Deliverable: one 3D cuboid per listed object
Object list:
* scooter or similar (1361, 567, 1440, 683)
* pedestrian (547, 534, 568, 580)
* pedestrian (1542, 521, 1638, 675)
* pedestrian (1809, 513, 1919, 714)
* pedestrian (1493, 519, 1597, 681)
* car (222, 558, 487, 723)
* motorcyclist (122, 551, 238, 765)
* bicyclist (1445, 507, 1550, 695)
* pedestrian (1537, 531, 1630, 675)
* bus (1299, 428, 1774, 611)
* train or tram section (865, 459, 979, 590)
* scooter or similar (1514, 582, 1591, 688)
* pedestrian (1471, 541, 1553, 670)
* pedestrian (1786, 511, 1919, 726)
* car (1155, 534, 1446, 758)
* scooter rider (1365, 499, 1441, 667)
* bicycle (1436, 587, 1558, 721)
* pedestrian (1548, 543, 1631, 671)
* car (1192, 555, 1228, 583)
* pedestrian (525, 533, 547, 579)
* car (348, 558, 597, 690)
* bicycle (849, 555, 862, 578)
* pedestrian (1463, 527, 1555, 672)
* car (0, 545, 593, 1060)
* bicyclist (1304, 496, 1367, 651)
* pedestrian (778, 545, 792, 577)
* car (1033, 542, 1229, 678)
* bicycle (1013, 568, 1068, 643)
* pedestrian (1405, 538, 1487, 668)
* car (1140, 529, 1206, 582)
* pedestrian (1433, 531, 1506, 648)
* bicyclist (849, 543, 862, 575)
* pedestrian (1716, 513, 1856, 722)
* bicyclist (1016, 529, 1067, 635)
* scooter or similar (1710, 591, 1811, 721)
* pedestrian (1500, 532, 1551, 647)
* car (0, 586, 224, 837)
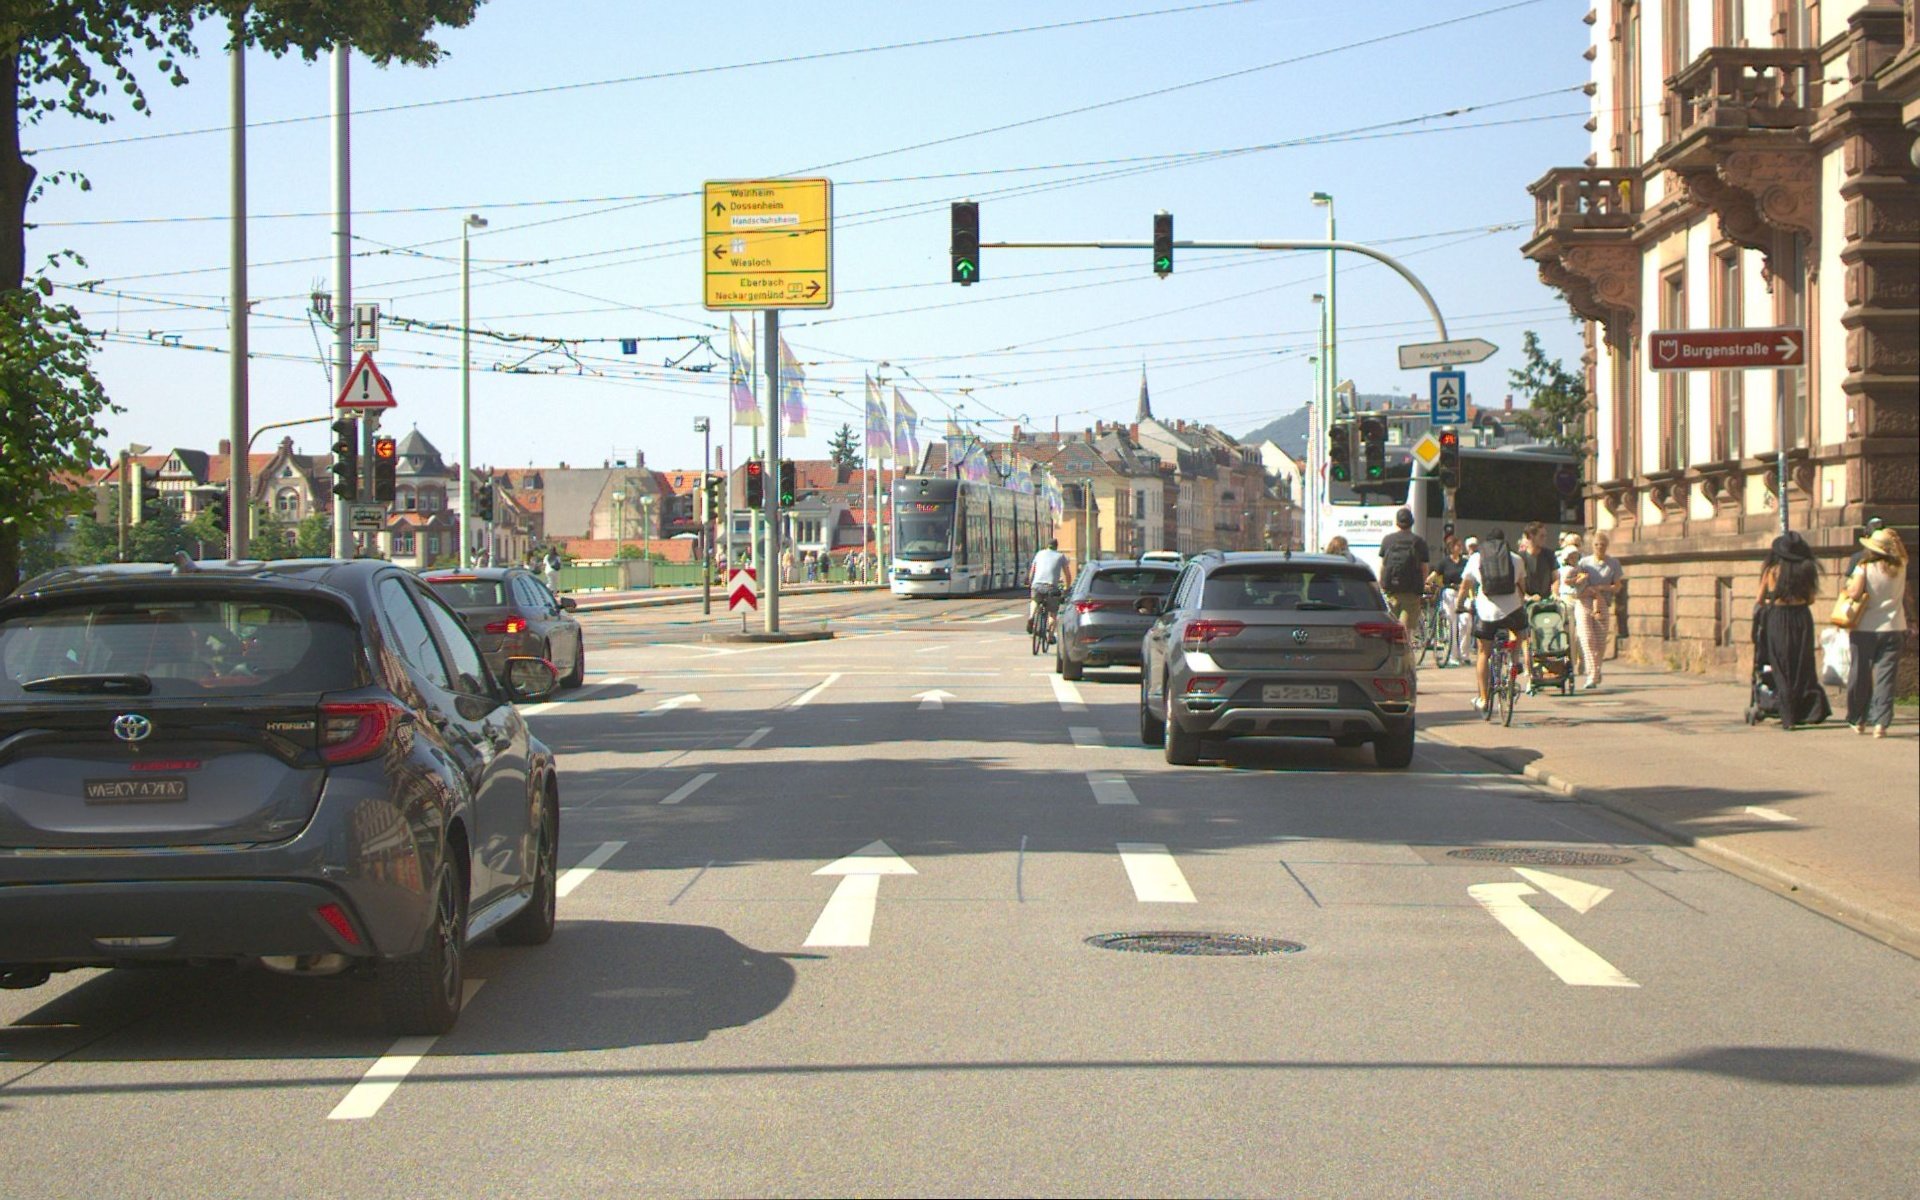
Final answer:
[{"bbox_3d":[4.609,0.257,36.028,0.688,1.163,1.463,2,0,4],"label":"scooter or similar"},{"bbox_3d":[-12.720,-1.363,108.610,0.558,1.411,0.636,2,0,-1],"label":"pedestrian"},{"bbox_3d":[6.755,-0.029,36.899,0.862,1.634,0.876,0,1,0],"label":"pedestrian"},{"bbox_3d":[7.710,0.115,28.890,0.862,1.634,0.875,2,0,0],"label":"pedestrian"},{"bbox_3d":[6.079,0.001,35.785,0.862,1.634,0.875,2,0,0],"label":"pedestrian"},{"bbox_3d":[-5.246,0.339,30.213,1.452,1.296,4.000,2,0,2],"label":"car"},{"bbox_3d":[-5.777,0.428,25.493,0.689,1.550,0.718,-1,-1,-2],"label":"motorcyclist"},{"bbox_3d":[4.628,0.011,29.657,0.688,1.571,1.049,2,0,0],"label":"bicyclist"},{"bbox_3d":[7.305,0.031,40.285,0.862,1.634,0.875,2,0,0],"label":"pedestrian"},{"bbox_3d":[10.264,-1.356,60.667,8.613,2.767,2.978,2,0,-36],"label":"bus"},{"bbox_3d":[-1.099,-2.256,105.423,2.823,3.764,8.225,2,1,3],"label":"train or tram section"},{"bbox_3d":[6.045,0.354,35.086,0.600,1.044,0.799,2,0,-1],"label":"scooter or similar"},{"bbox_3d":[7.226,0.074,45.027,0.862,1.634,0.875,2,0,0],"label":"pedestrian"},{"bbox_3d":[6.923,0.134,26.569,0.862,1.634,0.876,0,1,0],"label":"pedestrian"},{"bbox_3d":[2.481,0.325,25.934,1.874,1.487,4.000,2,0,2],"label":"car"},{"bbox_3d":[4.644,-0.173,36.068,0.688,1.723,0.778,2,0,4],"label":"scooter rider"},{"bbox_3d":[4.607,0.449,29.610,0.734,1.089,1.898,2,0,1],"label":"bicycle"},{"bbox_3d":[8.278,0.089,45.244,0.862,1.634,0.875,2,0,0],"label":"pedestrian"},{"bbox_3d":[14.558,-1.786,200.285,1.859,1.502,4.000,2,0,2],"label":"car"},{"bbox_3d":[-13.387,-1.389,108.621,0.558,1.411,0.636,2,0,-1],"label":"pedestrian"},{"bbox_3d":[-5.380,0.259,38.419,2.037,1.328,4.000,2,0,2],"label":"car"},{"bbox_3d":[-5.136,-1.642,168.584,0.558,1.121,1.223,2,0,-1],"label":"bicycle"},{"bbox_3d":[6.409,-0.006,40.157,0.862,1.634,0.875,2,0,0],"label":"pedestrian"},{"bbox_3d":[-2.389,0.593,11.915,1.777,1.470,4.000,-1,0,0],"label":"car"},{"bbox_3d":[4.820,-0.339,44.169,0.688,1.955,0.778,2,0,4],"label":"bicyclist"},{"bbox_3d":[-7.917,-1.774,155.305,0.558,1.411,0.636,2,0,-1],"label":"pedestrian"},{"bbox_3d":[2.018,0.117,41.705,1.993,1.487,4.000,2,0,-2],"label":"car"},{"bbox_3d":[1.219,0.082,52.355,0.734,1.089,1.898,2,0,0],"label":"bicycle"},{"bbox_3d":[6.307,0.036,44.657,0.862,1.634,0.875,2,0,0],"label":"pedestrian"},{"bbox_3d":[6.532,-1.355,105.817,1.859,1.502,4.000,2,0,2],"label":"car"},{"bbox_3d":[7.357,-0.152,49.681,0.862,1.634,0.875,2,0,0],"label":"pedestrian"},{"bbox_3d":[-5.113,-1.998,168.603,0.558,1.531,0.743,2,0,-1],"label":"bicyclist"},{"bbox_3d":[6.695,0.141,27.908,0.862,1.634,0.875,2,0,0],"label":"pedestrian"},{"bbox_3d":[1.233,-0.273,52.208,0.688,1.571,1.049,2,0,0],"label":"bicyclist"},{"bbox_3d":[6.652,0.458,28.597,0.600,1.044,0.799,2,0,-1],"label":"scooter or similar"},{"bbox_3d":[8.219,-0.155,49.994,0.576,1.634,0.611,2,0,0],"label":"pedestrian"},{"bbox_3d":[-5.849,0.591,20.690,1.815,1.328,4.000,2,0,2],"label":"car"}]
